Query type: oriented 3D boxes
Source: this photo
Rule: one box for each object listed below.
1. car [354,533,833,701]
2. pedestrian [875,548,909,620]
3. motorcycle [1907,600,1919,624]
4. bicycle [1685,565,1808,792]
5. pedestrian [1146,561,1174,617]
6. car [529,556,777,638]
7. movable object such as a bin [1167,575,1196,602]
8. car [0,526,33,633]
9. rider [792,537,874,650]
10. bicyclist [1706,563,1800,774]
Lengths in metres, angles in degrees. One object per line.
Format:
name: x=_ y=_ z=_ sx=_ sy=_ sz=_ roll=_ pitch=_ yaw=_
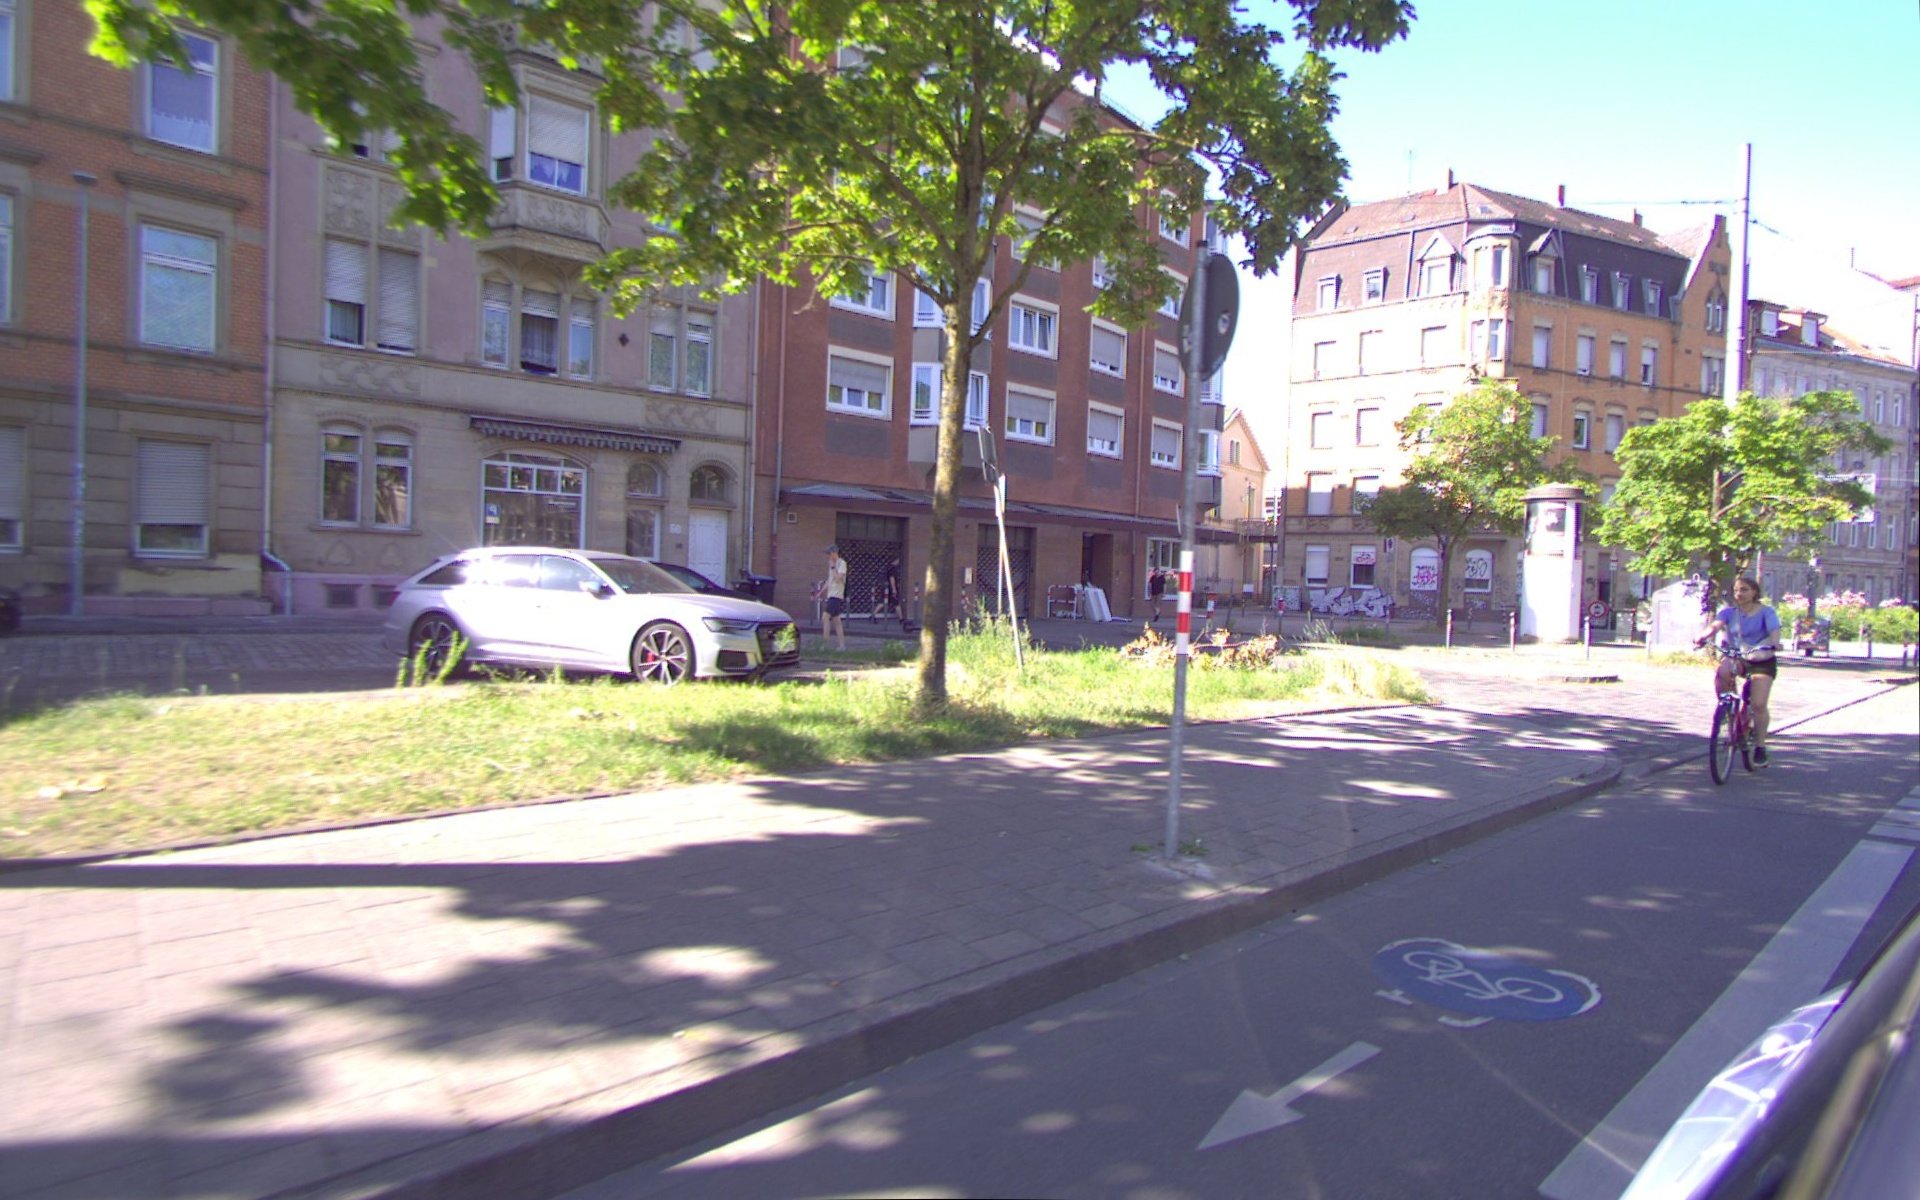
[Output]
car: x=-4.067 y=0.097 z=11.403 sx=4.813 sy=1.452 sz=2.011 roll=3 pitch=2 yaw=16
pedestrian: x=-1.719 y=-0.410 z=25.434 sx=0.604 sy=1.780 sz=0.571 roll=1 pitch=1 yaw=-39
motorcycle: x=53.779 y=0.685 z=56.250 sx=1.624 sy=1.332 sz=0.707 roll=2 pitch=1 yaw=40
bicycle: x=6.401 y=0.580 z=8.201 sx=1.905 sy=1.660 sz=0.438 roll=1 pitch=-1 yaw=-41
pedestrian: x=6.495 y=-0.354 z=32.853 sx=0.630 sy=1.782 sz=0.592 roll=0 pitch=1 yaw=-41
car: x=-6.158 y=-0.080 z=20.532 sx=4.408 sy=1.492 sz=1.998 roll=0 pitch=1 yaw=-39
movable object such as a bin: x=12.150 y=-0.621 z=55.535 sx=1.215 sy=1.462 sz=1.018 roll=2 pitch=1 yaw=45
car: x=-14.937 y=-0.336 z=13.130 sx=4.218 sy=1.438 sz=1.731 roll=1 pitch=2 yaw=-42
rider: x=-2.155 y=-0.130 z=17.243 sx=0.953 sy=1.843 sz=1.031 roll=2 pitch=1 yaw=27
bicyclist: x=6.589 y=0.537 z=8.406 sx=0.765 sy=1.659 sz=0.438 roll=1 pitch=1 yaw=-41
